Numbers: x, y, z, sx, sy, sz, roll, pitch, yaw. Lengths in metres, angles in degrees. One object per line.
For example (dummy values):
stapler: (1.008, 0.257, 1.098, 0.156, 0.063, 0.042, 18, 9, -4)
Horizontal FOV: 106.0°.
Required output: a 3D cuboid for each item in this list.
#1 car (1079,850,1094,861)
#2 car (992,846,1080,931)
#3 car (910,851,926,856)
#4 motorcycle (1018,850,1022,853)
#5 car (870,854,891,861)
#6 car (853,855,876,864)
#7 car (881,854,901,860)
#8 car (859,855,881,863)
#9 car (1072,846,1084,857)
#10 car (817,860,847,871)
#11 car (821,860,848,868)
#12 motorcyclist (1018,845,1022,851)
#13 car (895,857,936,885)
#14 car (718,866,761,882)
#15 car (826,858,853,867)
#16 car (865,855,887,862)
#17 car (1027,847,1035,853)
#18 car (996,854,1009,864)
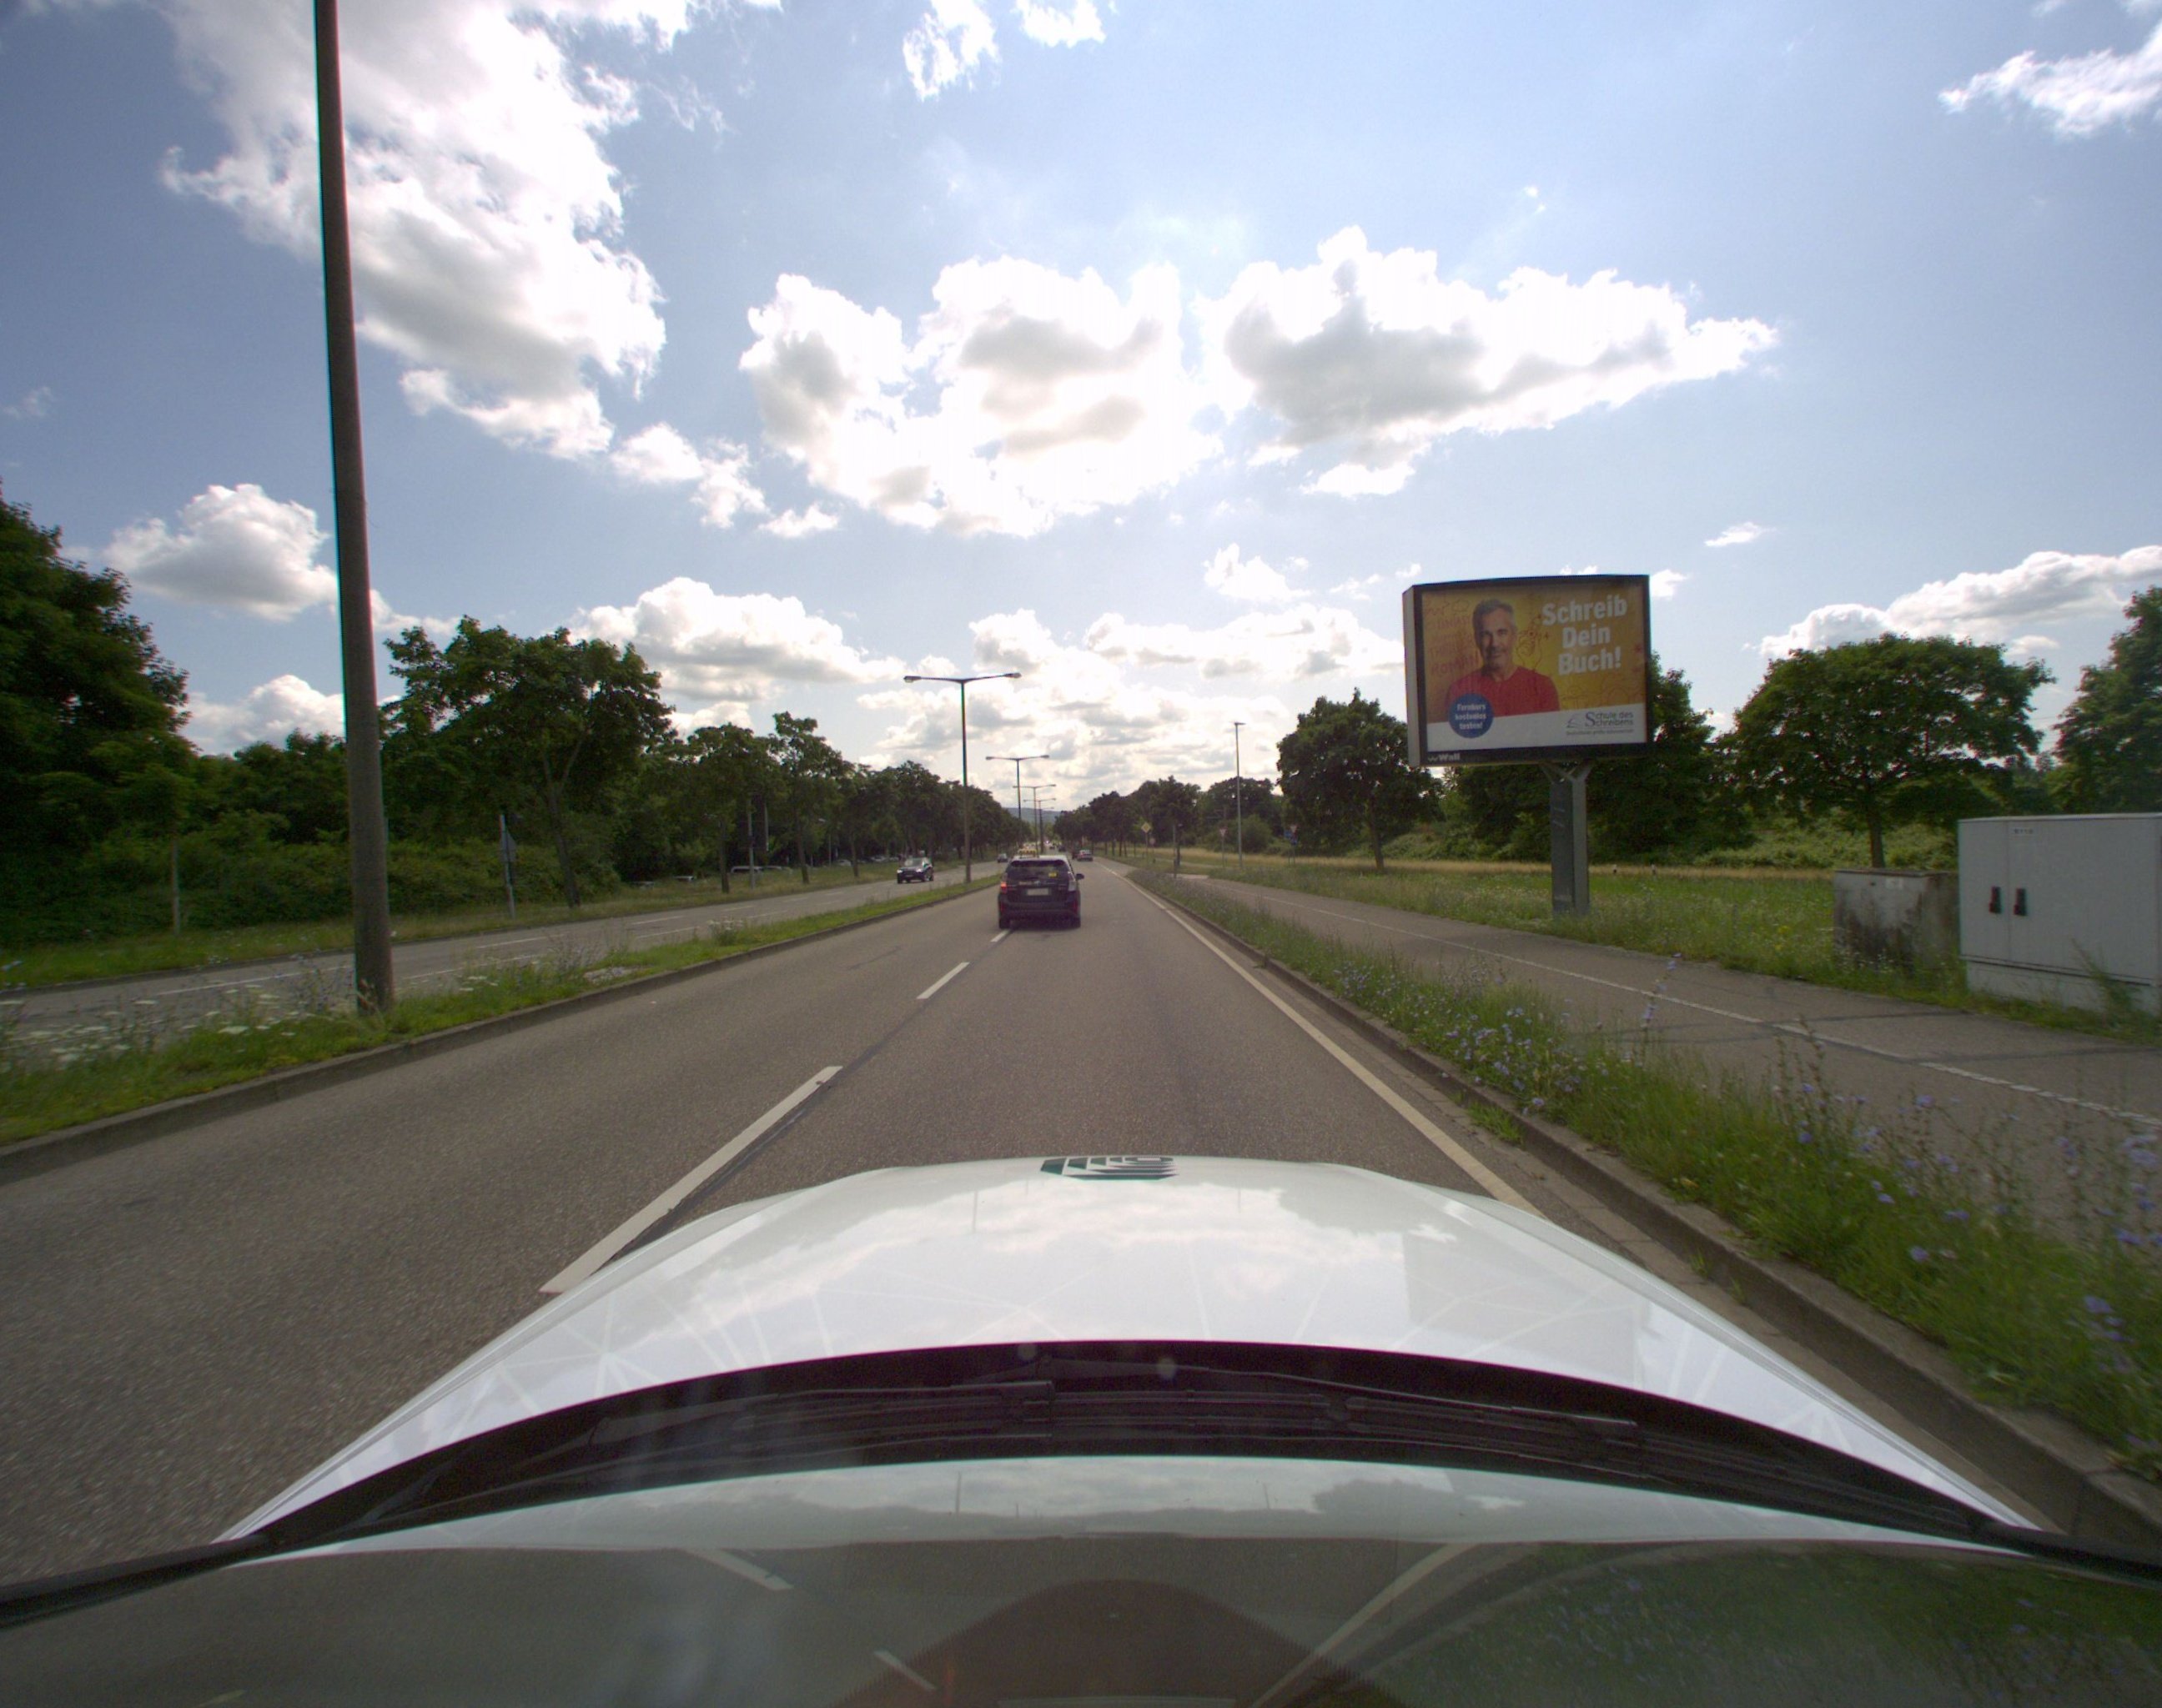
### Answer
car: (0.800, 0.249, 122.292, 1.989, 1.508, 3.996, -1, 1, -3)
car: (-0.952, 0.675, 18.522, 1.774, 1.683, 3.998, -1, 1, -1)
car: (-42.674, -0.074, 213.795, 3.770, 1.387, 1.786, 0, 1, 2)
motorcycle: (-14.867, -0.628, 197.727, 0.749, 0.772, 2.670, 0, 1, -1)
car: (-41.242, 0.760, 167.279, 3.770, 1.387, 1.786, 0, 1, 2)
car: (-40.365, 1.054, 151.931, 3.770, 1.568, 1.786, 0, 1, 2)
car: (-41.176, 0.669, 176.312, 3.770, 1.387, 1.786, 0, 1, 2)
car: (-40.740, 0.924, 157.533, 3.770, 1.387, 1.786, 0, 1, 2)
car: (-0.574, -0.451, 136.165, 1.988, 1.661, 3.999, 0, 1, -1)
car: (-36.331, 1.657, 118.877, 3.773, 1.508, 1.785, 0, 1, -1)
car: (-39.788, 1.586, 131.603, 3.773, 1.247, 1.785, 0, 1, -1)
motorcyclist: (-14.856, -1.412, 197.609, 0.824, 1.414, 1.328, -1, 1, -2)
car: (-11.730, 1.173, 57.944, 1.871, 1.790, 4.727, -4, 0, -1)
car: (-38.203, 2.202, 91.249, 3.979, 1.625, 1.998, -1, 1, -4)
car: (-39.742, 1.370, 134.099, 3.775, 1.428, 1.784, -1, 1, -2)
car: (-40.668, 0.915, 161.526, 3.770, 1.387, 1.786, 0, 1, 2)
car: (-12.285, -0.975, 199.182, 1.806, 1.398, 4.731, -2, 1, -2)
car: (-12.598, 0.796, 131.041, 1.701, 1.427, 3.662, -2, 0, -10)
